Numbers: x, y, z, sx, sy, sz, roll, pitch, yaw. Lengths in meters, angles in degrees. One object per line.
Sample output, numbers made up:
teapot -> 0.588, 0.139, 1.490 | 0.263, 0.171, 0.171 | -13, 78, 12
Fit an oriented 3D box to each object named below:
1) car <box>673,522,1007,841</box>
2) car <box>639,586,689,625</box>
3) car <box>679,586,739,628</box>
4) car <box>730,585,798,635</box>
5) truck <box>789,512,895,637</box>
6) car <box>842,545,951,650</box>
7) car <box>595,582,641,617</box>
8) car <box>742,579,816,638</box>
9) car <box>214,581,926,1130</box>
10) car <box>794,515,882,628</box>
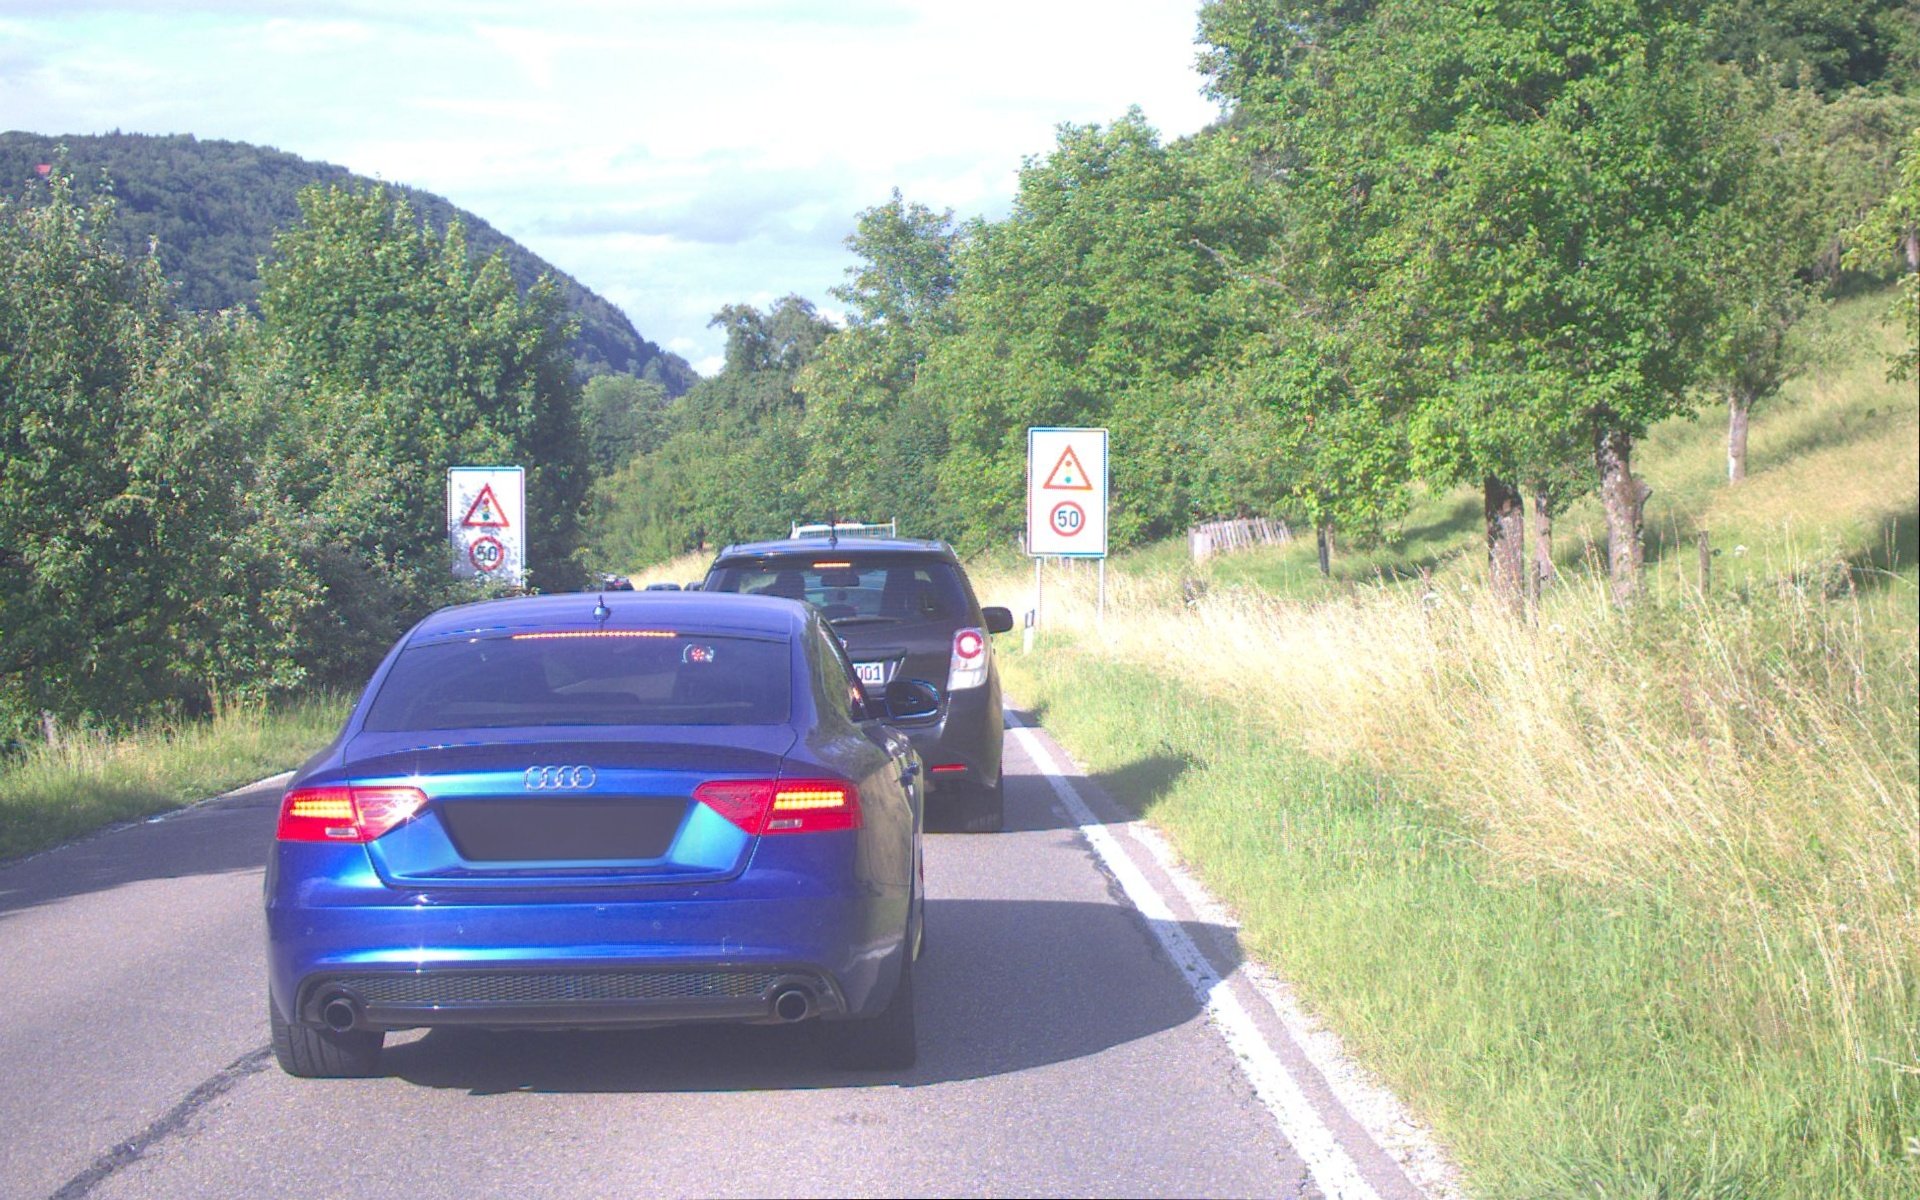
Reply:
car -> -0.652, 0.384, 19.502 | 1.692, 1.618, 3.789 | 1, 1, -1
car -> -12.367, 0.224, 143.352 | 1.558, 1.490, 3.779 | 2, 1, -12
car -> -9.578, 0.249, 130.850 | 1.747, 1.490, 3.779 | 2, 1, -12
car -> -6.333, 0.304, 110.801 | 1.747, 1.490, 3.779 | 2, 1, -9
truck -> -2.338, -0.518, 68.367 | 1.950, 2.337, 5.094 | 2, 1, -2
car -> -1.032, -0.064, 55.601 | 1.692, 1.618, 3.789 | 1, 1, -1
car -> -15.739, -0.026, 158.076 | 1.558, 1.490, 3.779 | 2, 1, -13
car -> -5.008, 0.222, 94.581 | 1.747, 1.490, 3.779 | 2, 1, -7
car -> -1.021, 0.642, 10.912 | 1.805, 1.377, 4.215 | -1, 0, -1
car -> -2.796, -0.661, 77.920 | 1.792, 2.445, 3.920 | 2, 1, -4
